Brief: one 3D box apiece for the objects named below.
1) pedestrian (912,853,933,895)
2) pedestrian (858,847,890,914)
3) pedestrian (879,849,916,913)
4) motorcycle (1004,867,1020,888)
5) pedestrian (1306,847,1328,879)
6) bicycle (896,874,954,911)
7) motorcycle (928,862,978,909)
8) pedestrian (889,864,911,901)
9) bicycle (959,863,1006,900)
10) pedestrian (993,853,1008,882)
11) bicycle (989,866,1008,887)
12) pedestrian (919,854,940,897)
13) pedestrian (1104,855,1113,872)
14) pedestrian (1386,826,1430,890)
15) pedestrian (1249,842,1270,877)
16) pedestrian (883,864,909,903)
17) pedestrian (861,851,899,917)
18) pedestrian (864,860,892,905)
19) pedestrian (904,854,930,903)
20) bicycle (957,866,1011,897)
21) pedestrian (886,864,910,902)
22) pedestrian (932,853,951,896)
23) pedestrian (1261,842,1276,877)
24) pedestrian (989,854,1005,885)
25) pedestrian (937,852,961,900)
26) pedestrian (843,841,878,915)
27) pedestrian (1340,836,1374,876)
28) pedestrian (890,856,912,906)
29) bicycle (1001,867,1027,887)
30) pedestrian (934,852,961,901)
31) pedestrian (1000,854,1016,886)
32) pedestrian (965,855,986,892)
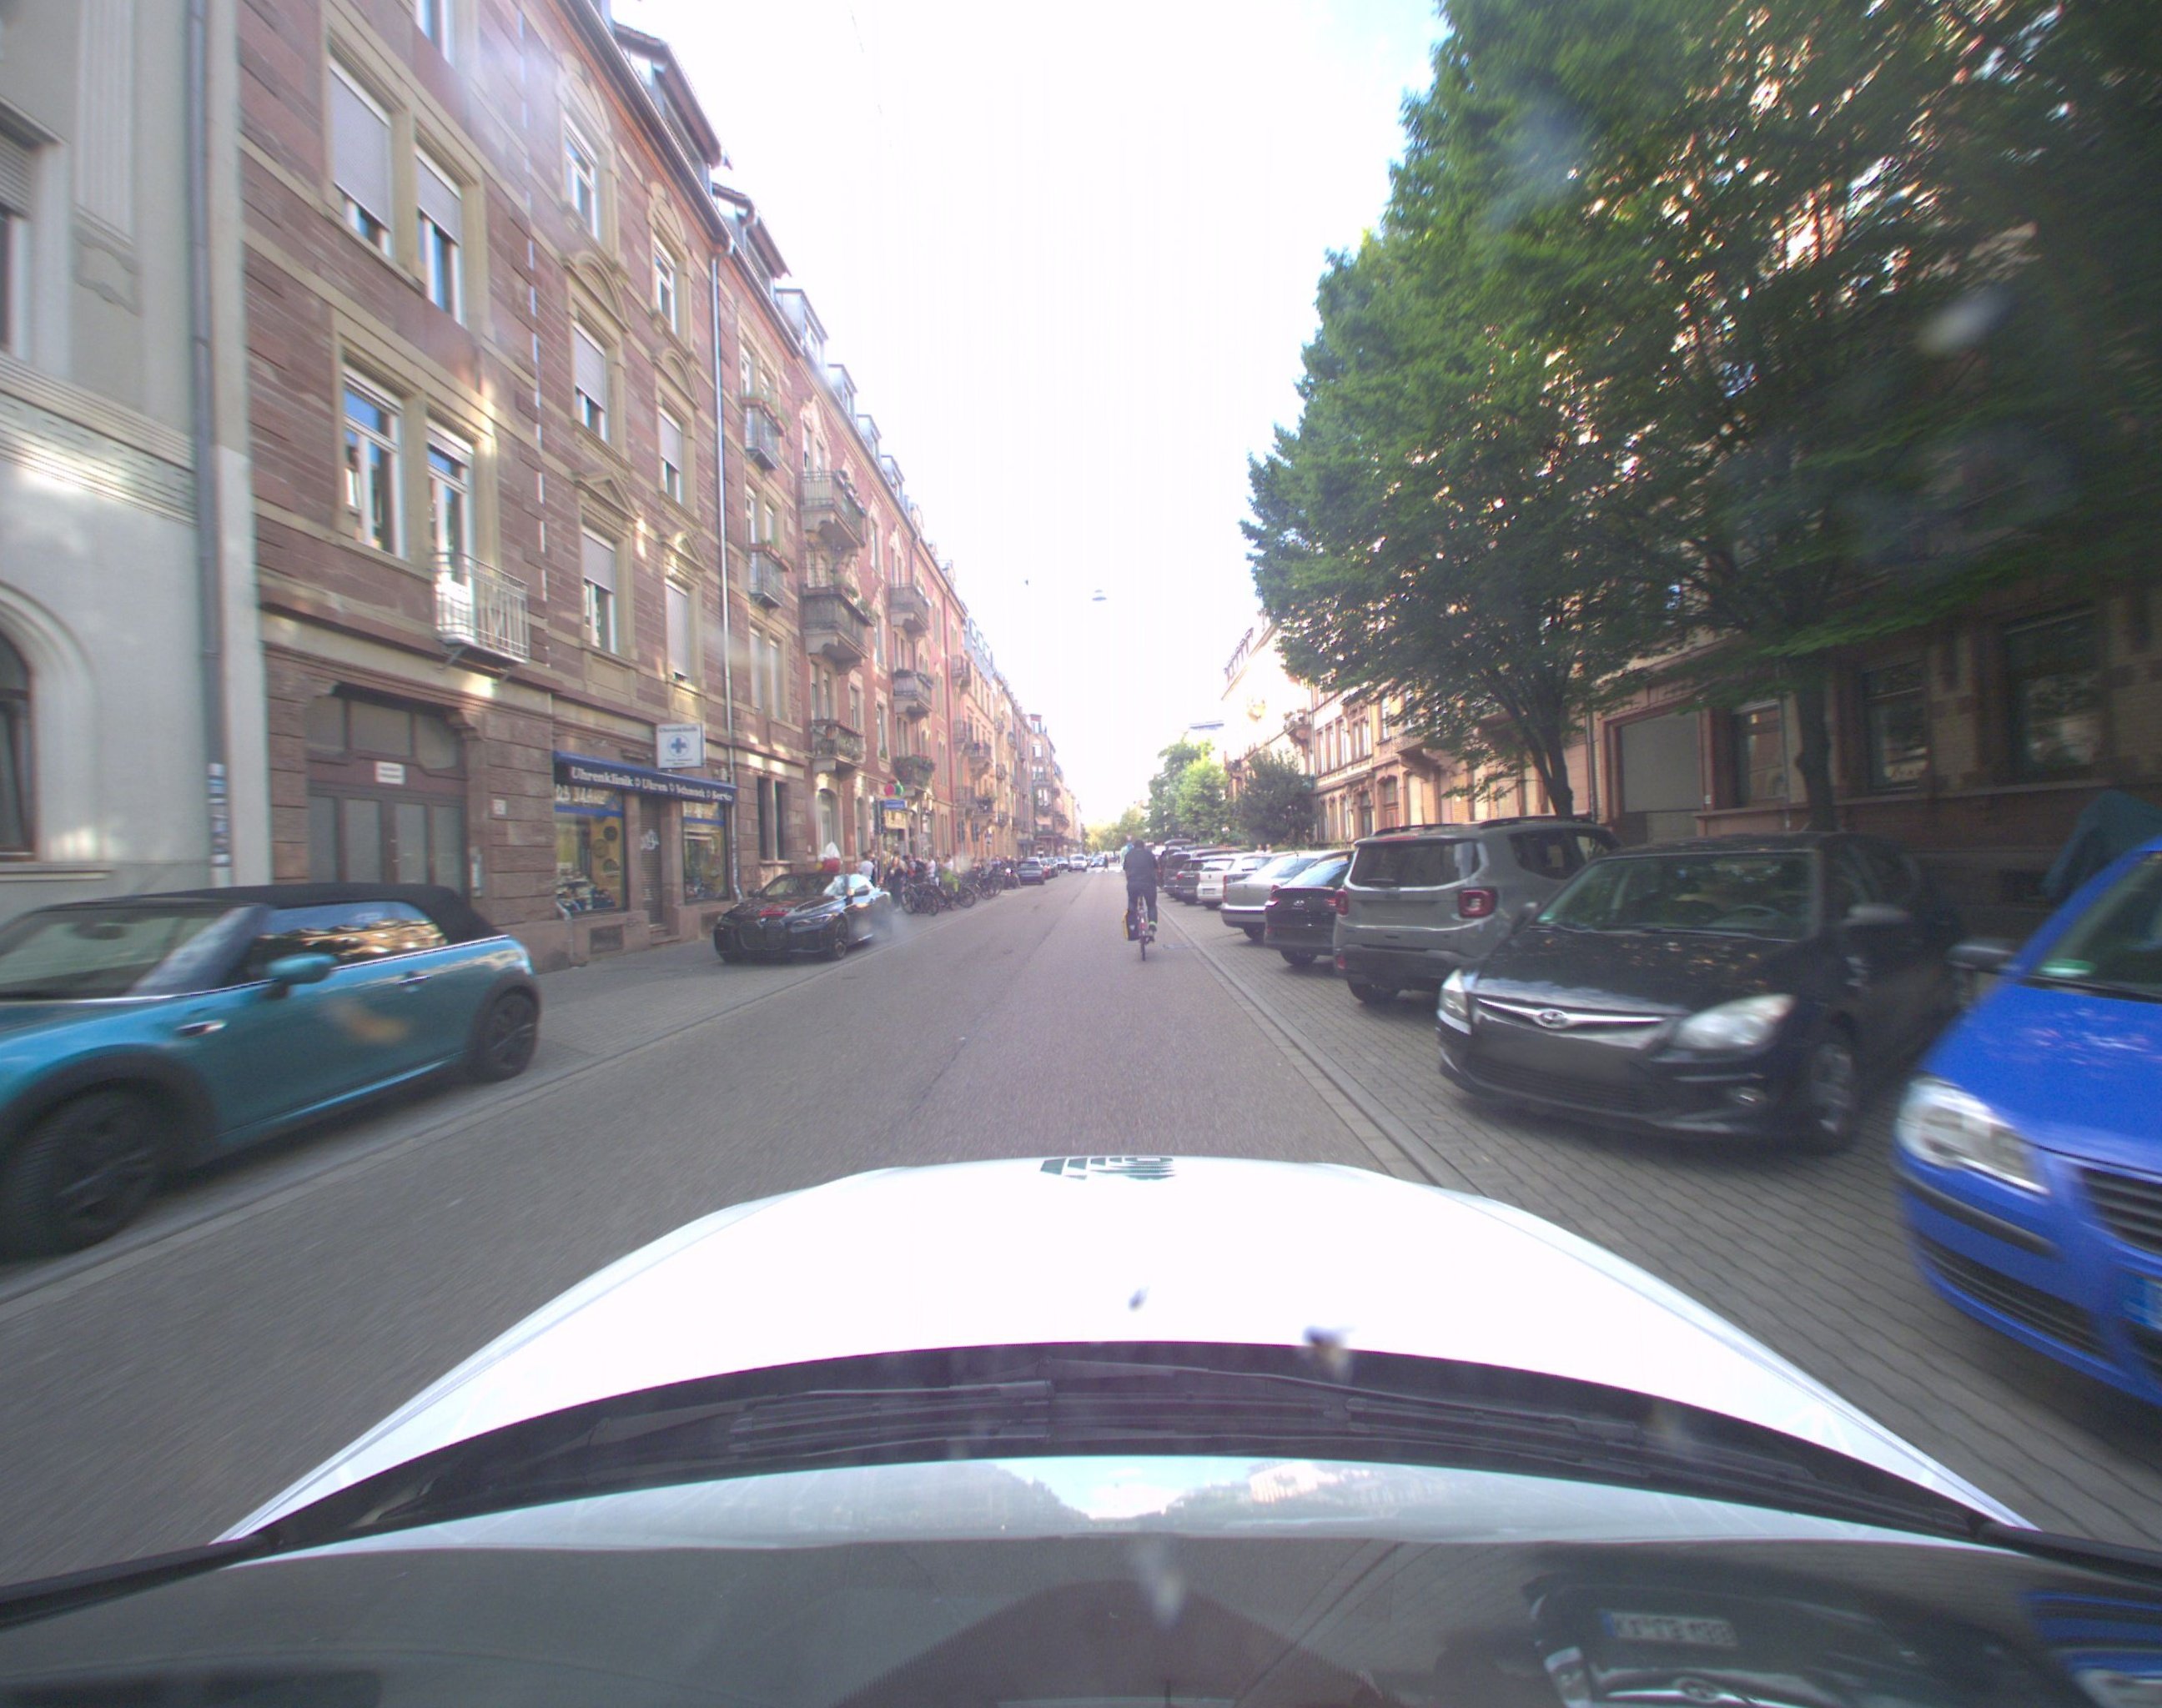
[{"bbox_3d":[-6.466,0.820,33.313,0.661,1.696,0.764,-1,0,2],"label":"pedestrian"},{"bbox_3d":[-5.945,0.739,23.418,0.640,1.892,0.605,-1,-1,31],"label":"pedestrian"},{"bbox_3d":[-5.286,0.759,23.448,0.753,1.818,0.670,-1,-1,31],"label":"pedestrian"},{"bbox_3d":[-3.488,1.195,41.253,0.792,0.995,2.495,-1,0,-5],"label":"motorcycle"},{"bbox_3d":[9.339,0.358,32.272,0.598,1.219,0.674,-5,0,1],"label":"pedestrian"},{"bbox_3d":[-4.486,1.100,23.413,1.667,1.030,0.411,-1,-1,22],"label":"bicycle"},{"bbox_3d":[-3.951,0.947,25.221,0.702,1.384,2.032,-1,0,16],"label":"motorcycle"},{"bbox_3d":[-6.550,1.029,29.511,0.699,1.313,0.372,-1,-1,-3],"label":"pedestrian"},{"bbox_3d":[-3.717,1.016,30.848,1.684,1.322,0.522,-1,-1,-34],"label":"bicycle"},{"bbox_3d":[-5.119,0.851,51.735,0.752,1.808,0.864,-1,0,5],"label":"pedestrian"},{"bbox_3d":[-4.317,1.160,42.792,0.490,1.095,1.910,0,-1,11],"label":"bicycle"},{"bbox_3d":[-6.056,0.845,32.564,0.667,1.696,0.580,-1,-1,-29],"label":"pedestrian"},{"bbox_3d":[2.799,0.963,83.387,0.624,1.739,0.778,-3,0,14],"label":"pedestrian"},{"bbox_3d":[8.695,0.112,21.707,0.729,1.634,0.833,-4,-1,-1],"label":"pedestrian"},{"bbox_3d":[8.634,0.261,39.379,0.652,1.695,0.691,-1,-1,-42],"label":"pedestrian"},{"bbox_3d":[-6.329,1.012,27.897,0.721,1.313,0.606,-1,-1,-2],"label":"pedestrian"},{"bbox_3d":[-5.540,0.812,22.453,0.753,1.759,0.670,-1,-1,31],"label":"pedestrian"},{"bbox_3d":[-6.628,0.924,26.651,0.600,1.470,0.728,-1,-1,12],"label":"pedestrian"},{"bbox_3d":[-6.318,0.946,31.367,0.765,1.854,0.659,-1,-1,-29],"label":"pedestrian"},{"bbox_3d":[-3.911,1.106,33.010,0.798,1.159,2.284,-1,0,39],"label":"bicycle"},{"bbox_3d":[-6.535,1.025,29.099,0.715,1.313,0.439,-1,-1,-3],"label":"pedestrian"},{"bbox_3d":[-5.655,0.816,33.035,0.567,1.696,0.641,-1,-1,-29],"label":"pedestrian"},{"bbox_3d":[8.928,0.256,38.749,0.571,1.659,0.633,-1,-1,2],"label":"pedestrian"},{"bbox_3d":[-4.519,0.854,44.010,0.683,1.661,0.546,-1,-1,-28],"label":"pedestrian"},{"bbox_3d":[-4.966,0.813,30.646,0.600,1.751,0.728,-1,-1,12],"label":"pedestrian"},{"bbox_3d":[-6.169,0.665,22.796,0.637,2.014,0.634,-2,-1,30],"label":"pedestrian"},{"bbox_3d":[10.897,0.090,32.163,0.926,1.497,0.811,-3,0,-5],"label":"pedestrian"},{"bbox_3d":[-5.984,0.891,27.143,0.551,1.616,0.584,-1,-1,2],"label":"pedestrian"},{"bbox_3d":[-3.551,1.211,43.094,0.477,1.059,1.915,-1,-1,26],"label":"bicycle"},{"bbox_3d":[-4.872,0.803,29.732,0.600,1.751,0.949,-1,-1,14],"label":"pedestrian"},{"bbox_3d":[-3.935,0.877,43.866,0.568,1.709,0.661,-1,-1,-33],"label":"pedestrian"},{"bbox_3d":[-4.790,0.870,37.175,0.910,1.661,0.826,-1,0,-7],"label":"pedestrian"}]
